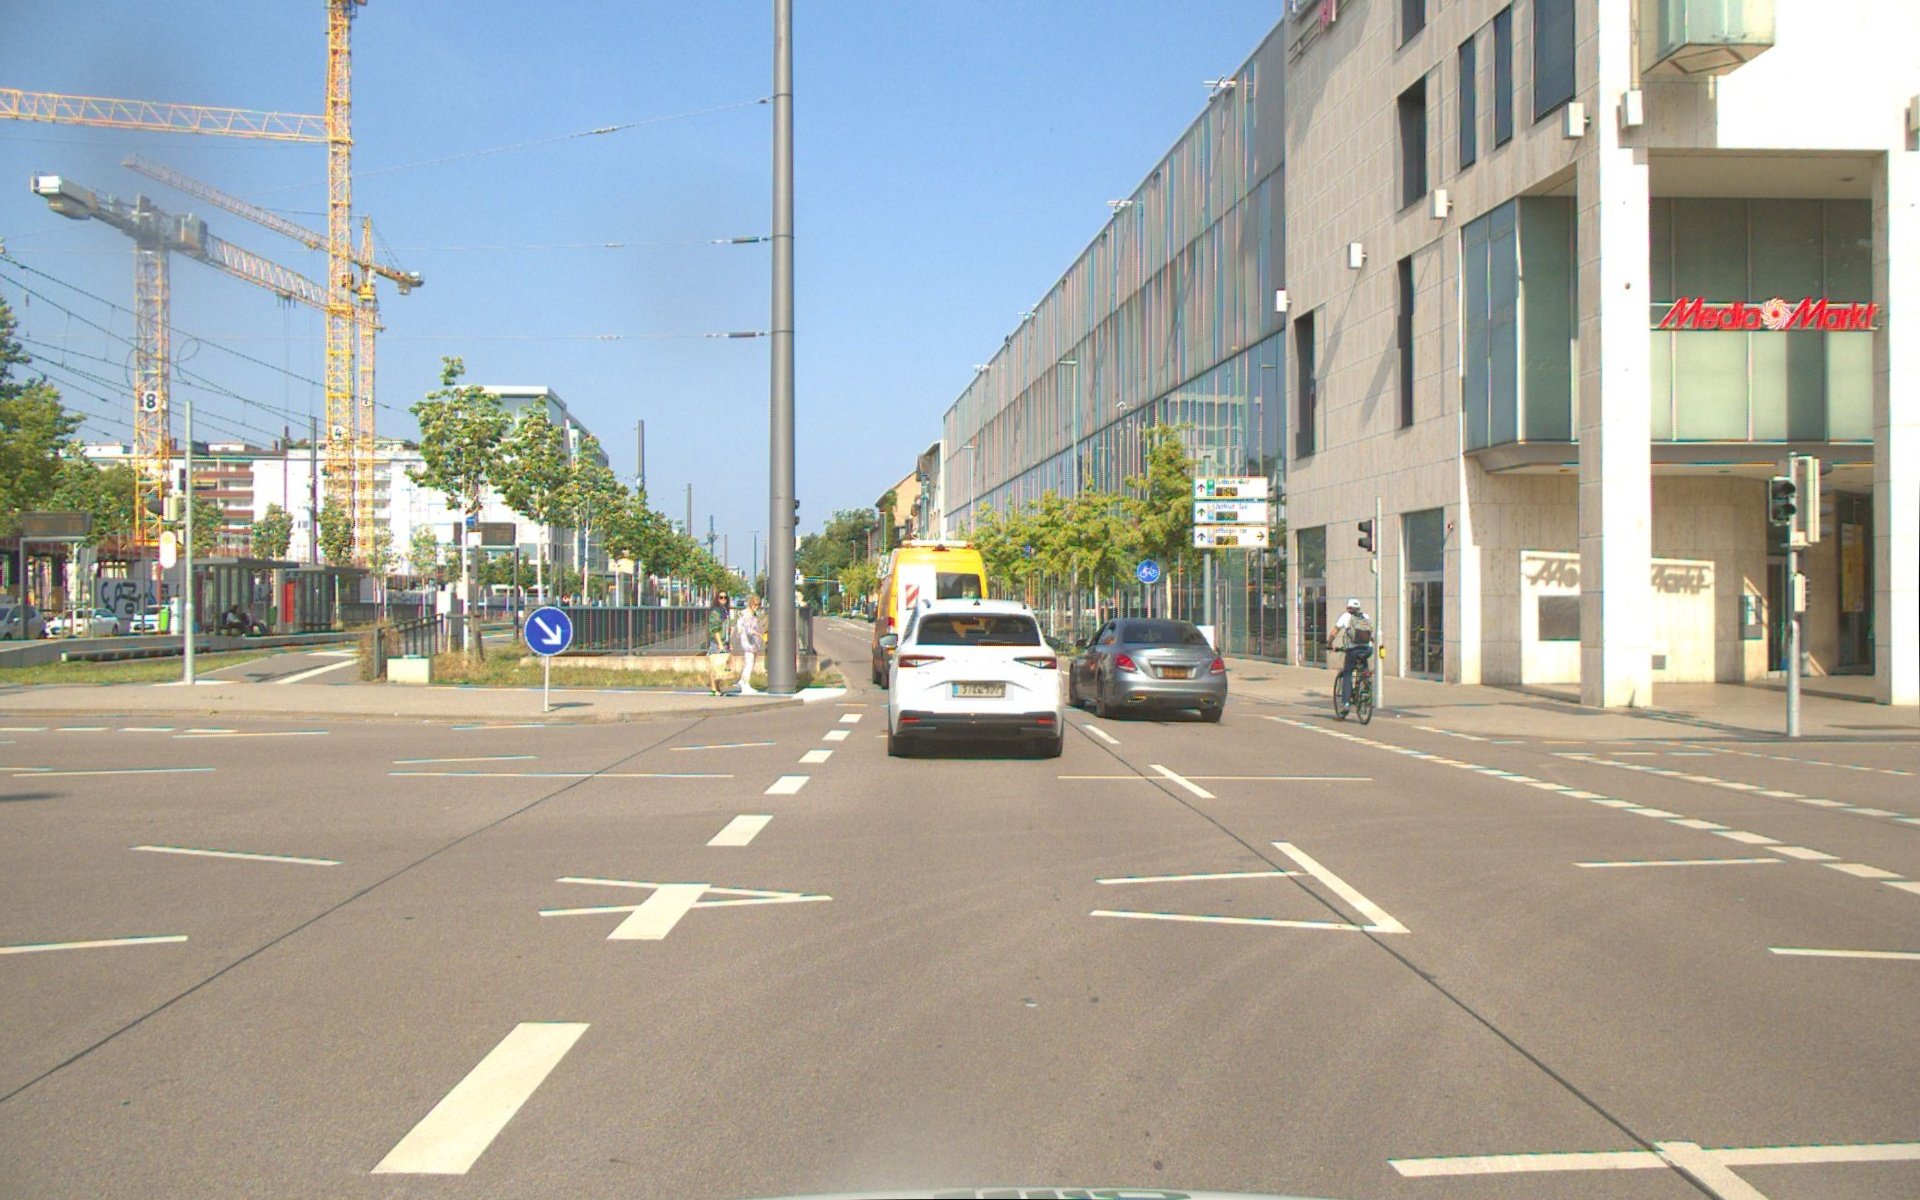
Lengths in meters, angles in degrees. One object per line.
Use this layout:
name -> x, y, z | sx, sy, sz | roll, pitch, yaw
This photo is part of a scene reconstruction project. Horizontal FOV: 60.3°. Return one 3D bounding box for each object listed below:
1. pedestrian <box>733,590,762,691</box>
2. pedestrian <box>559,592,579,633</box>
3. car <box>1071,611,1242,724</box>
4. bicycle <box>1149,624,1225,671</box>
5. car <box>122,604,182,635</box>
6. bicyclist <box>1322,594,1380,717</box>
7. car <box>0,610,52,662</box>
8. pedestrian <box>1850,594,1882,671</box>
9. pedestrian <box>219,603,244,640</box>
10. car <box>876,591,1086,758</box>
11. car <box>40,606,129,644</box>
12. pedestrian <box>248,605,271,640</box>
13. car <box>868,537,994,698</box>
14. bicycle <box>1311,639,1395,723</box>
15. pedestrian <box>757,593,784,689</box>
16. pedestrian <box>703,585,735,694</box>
pedestrian -> -3.615, 0.679, 28.142 | 0.458, 1.679, 0.776 | 0, 0, -6
pedestrian -> -15.661, 0.489, 66.243 | 0.721, 1.647, 0.709 | 0, -1, -7
car -> 2.801, 0.929, 24.446 | 1.726, 1.461, 4.111 | 2, 0, -4
bicycle -> 5.861, 1.223, 42.736 | 1.803, 1.132, 0.686 | 2, 0, -5
car -> -39.994, 0.954, 81.960 | 1.565, 1.489, 3.429 | 0, 0, -6
bicyclist -> 5.769, 0.807, 24.428 | 0.638, 1.779, 0.769 | 0, 0, -4
car -> -32.574, 1.180, 56.044 | 1.687, 1.691, 4.145 | 0, 0, -6
pedestrian -> 20.351, 0.718, 37.149 | 0.451, 1.707, 0.499 | 0, 0, -41
pedestrian -> -26.264, 0.757, 59.626 | 0.668, 1.323, 0.591 | 0, 0, -10
car -> 0.110, 0.730, 17.989 | 1.834, 1.602, 3.995 | 0, 0, -6
car -> -38.591, 1.067, 73.012 | 1.757, 1.609, 4.612 | 0, 0, -4
pedestrian -> -26.531, 0.844, 62.637 | 0.668, 1.323, 0.591 | 0, 0, -10
car -> -0.659, 0.280, 32.017 | 1.981, 2.845, 5.394 | 0, 0, -6
bicycle -> 5.784, 1.166, 24.451 | 0.648, 1.137, 2.049 | 0, 0, -4
pedestrian -> -3.361, 0.715, 29.299 | 0.458, 1.679, 0.776 | 0, 0, -6
pedestrian -> -3.791, 0.612, 26.040 | 0.458, 1.679, 0.776 | 0, 0, -6
